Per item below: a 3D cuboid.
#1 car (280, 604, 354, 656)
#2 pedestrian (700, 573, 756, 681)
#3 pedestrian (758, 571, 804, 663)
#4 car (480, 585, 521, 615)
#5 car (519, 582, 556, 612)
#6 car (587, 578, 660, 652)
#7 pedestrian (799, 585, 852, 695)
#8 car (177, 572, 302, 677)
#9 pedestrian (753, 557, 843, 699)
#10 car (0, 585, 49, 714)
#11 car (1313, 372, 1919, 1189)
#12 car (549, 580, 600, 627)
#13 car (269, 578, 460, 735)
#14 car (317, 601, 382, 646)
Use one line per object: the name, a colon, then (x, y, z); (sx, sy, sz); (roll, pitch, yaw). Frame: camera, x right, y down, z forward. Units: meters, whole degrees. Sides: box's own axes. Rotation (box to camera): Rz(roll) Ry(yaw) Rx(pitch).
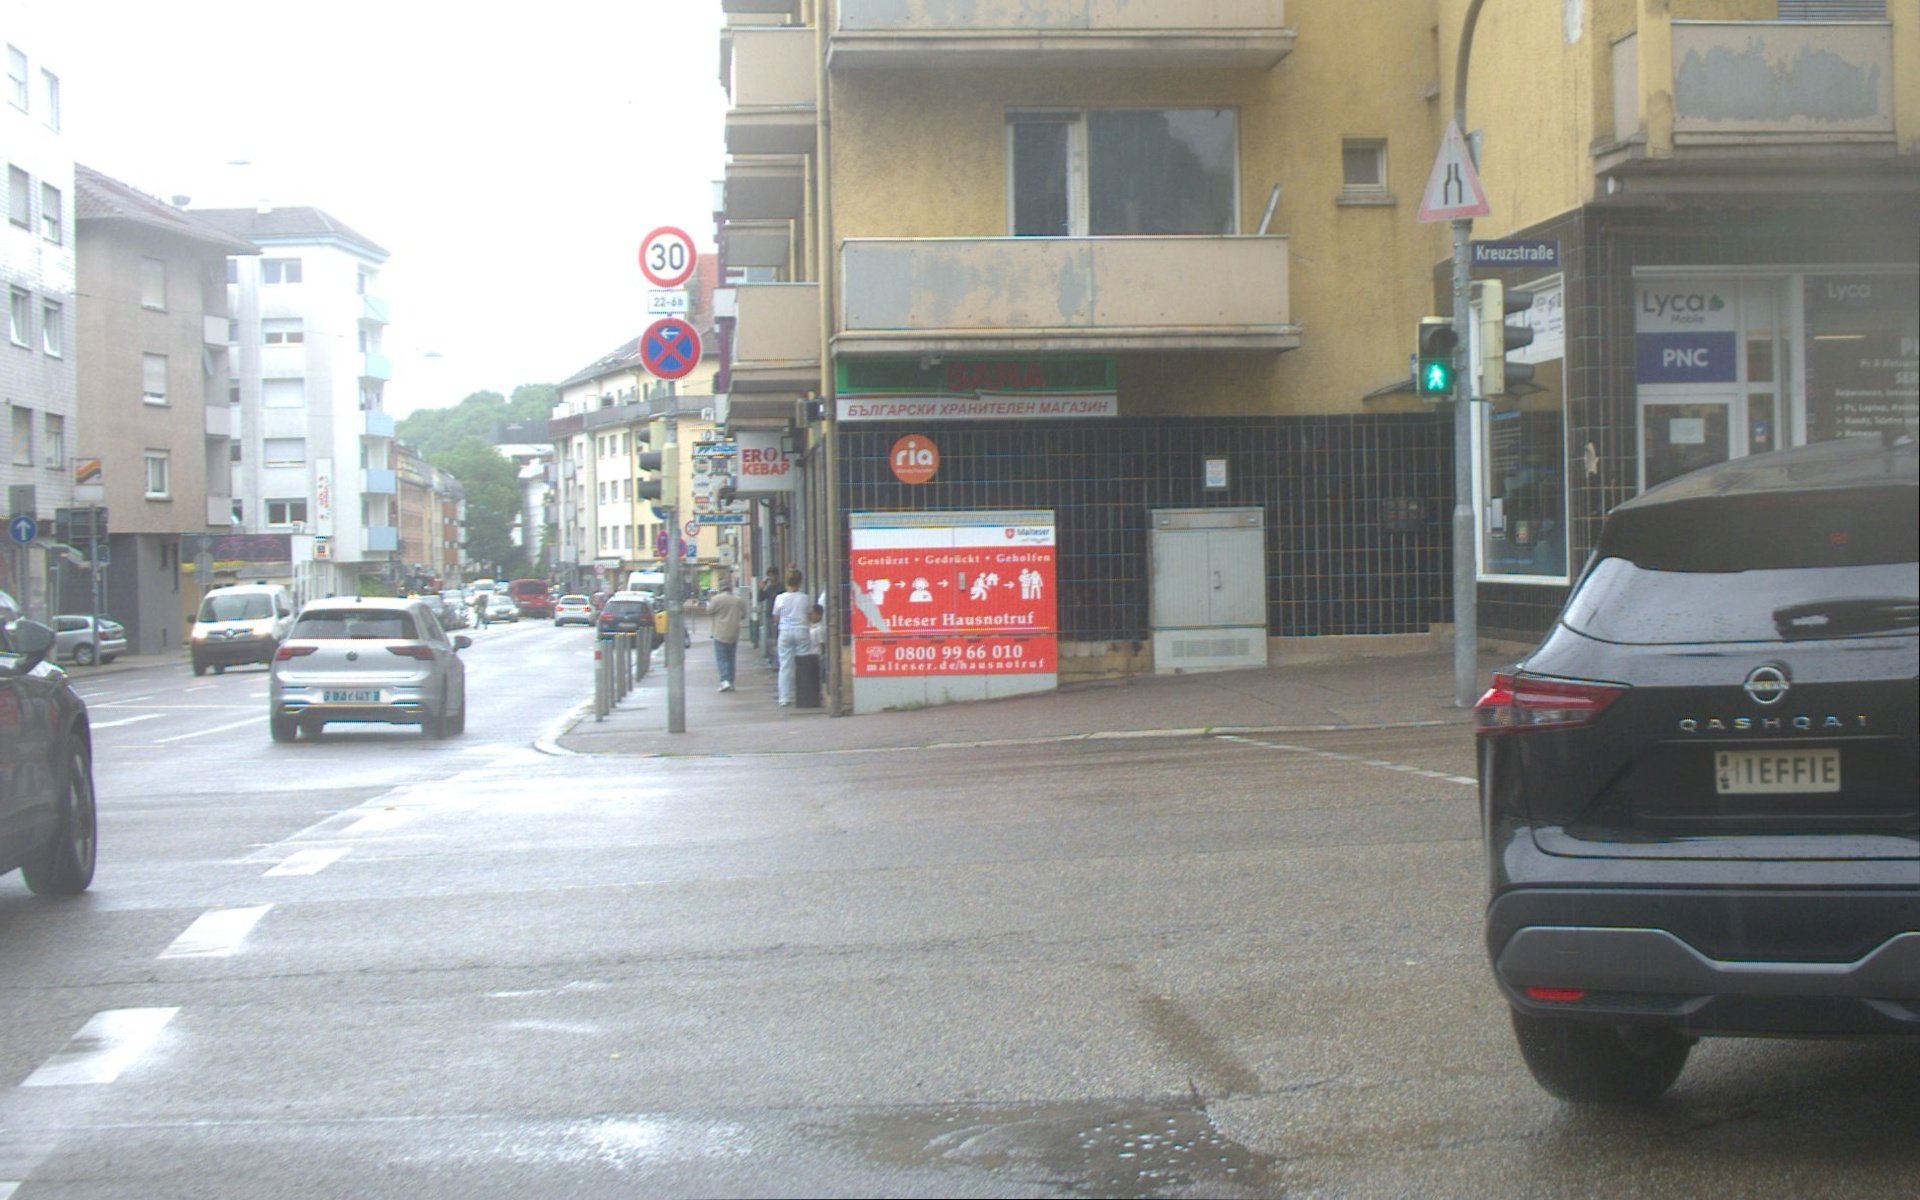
car: (-20.394, 0.942, 109.146); (1.993, 1.448, 4.001); (-4, 1, -7)
pedestrian: (-3.384, 0.388, 50.118); (0.704, 1.553, 0.629); (-1, 1, 5)
pedestrian: (-3.059, 0.282, 58.745); (0.628, 1.553, 0.706); (-1, 1, 10)
car: (-24.977, -0.024, 186.870); (1.993, 1.481, 4.001); (-3, 1, -5)
car: (-25.067, -0.191, 203.904); (1.993, 1.632, 4.832); (-3, 1, -5)
car: (-10.032, 0.423, 102.265); (1.993, 2.007, 4.001); (-4, 1, -6)
pedestrian: (-1.583, 0.465, 40.393); (0.463, 1.229, 0.554); (-7, 1, -4)
car: (-15.031, 0.482, 71.872); (1.910, 2.007, 4.001); (-4, 1, -4)
pedestrian: (-1.896, 0.315, 40.122); (0.835, 1.553, 0.833); (-7, 1, -5)
car: (-13.009, 0.668, 43.895); (1.779, 1.591, 3.793); (-2, 1, -1)
car: (2.742, 0.292, 8.779); (1.963, 1.647, 3.993); (-2, 1, 34)
car: (-17.524, 0.136, 156.436); (1.993, 2.007, 4.001); (-3, 1, -3)
car: (-6.130, 0.541, 35.718); (1.767, 1.439, 4.001); (-2, 1, -8)
car: (-21.970, 0.832, 123.834); (1.993, 1.448, 4.001); (-4, 1, -7)
